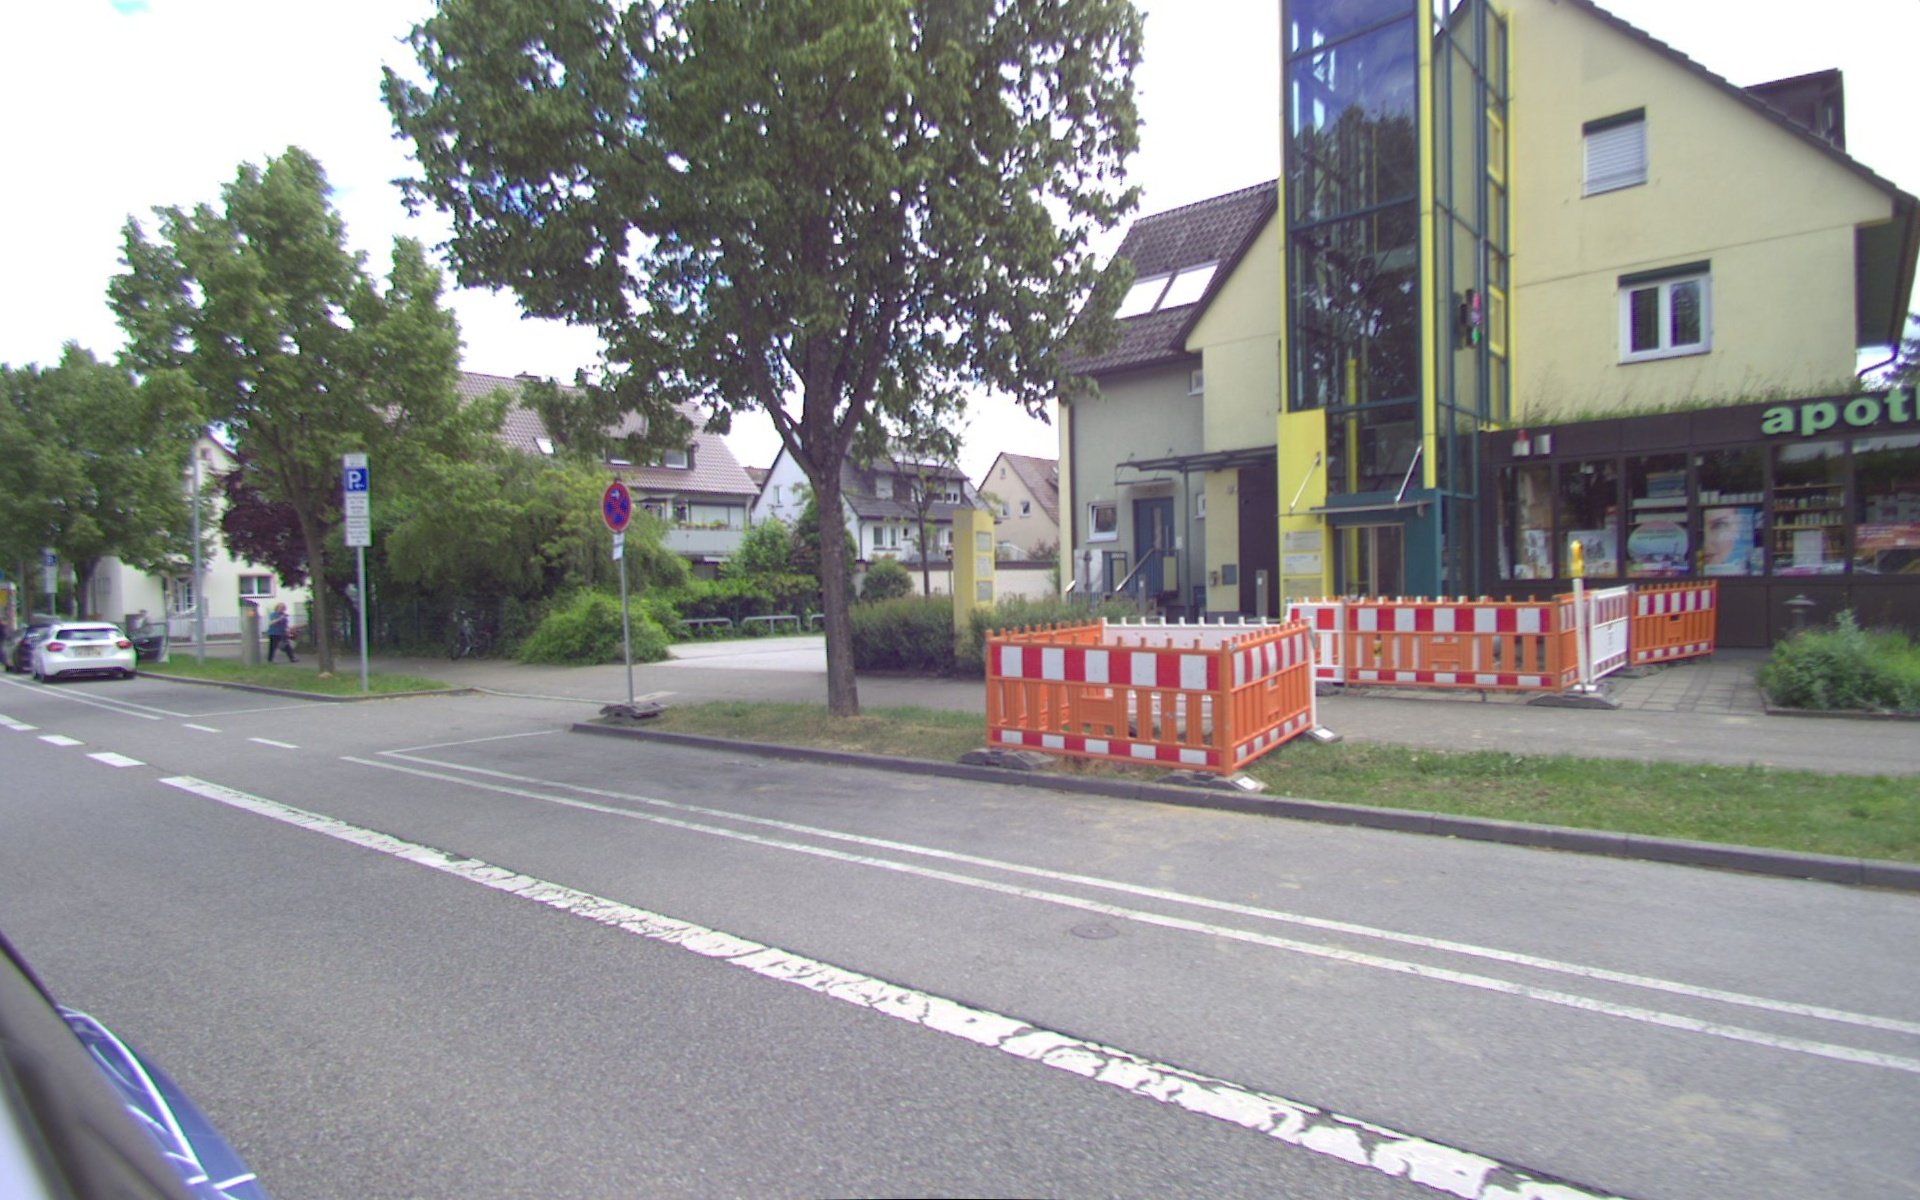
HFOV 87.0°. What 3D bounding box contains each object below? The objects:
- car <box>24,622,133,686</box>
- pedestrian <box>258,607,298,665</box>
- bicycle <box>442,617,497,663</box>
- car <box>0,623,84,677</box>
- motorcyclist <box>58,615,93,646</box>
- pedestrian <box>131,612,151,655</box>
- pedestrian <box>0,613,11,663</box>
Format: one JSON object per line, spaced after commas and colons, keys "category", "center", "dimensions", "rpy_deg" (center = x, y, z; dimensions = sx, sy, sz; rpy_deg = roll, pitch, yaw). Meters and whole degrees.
{"category": "car", "center": [-22.172, 1.288, 25.402], "dimensions": [4.301, 1.417, 1.695], "rpy_deg": [-1, 0, 44]}
{"category": "pedestrian", "center": [-18.527, 0.976, 27.494], "dimensions": [0.690, 1.540, 0.582], "rpy_deg": [-1, 0, 6]}
{"category": "bicycle", "center": [-11.777, 0.958, 24.286], "dimensions": [1.578, 1.056, 0.458], "rpy_deg": [-1, 0, 35]}
{"category": "car", "center": [-26.959, 1.408, 29.638], "dimensions": [4.021, 1.431, 1.624], "rpy_deg": [-1, -1, 44]}
{"category": "motorcyclist", "center": [-40.278, 1.372, 46.080], "dimensions": [0.753, 1.375, 1.095], "rpy_deg": [-1, 0, 40]}
{"category": "pedestrian", "center": [-30.028, 1.214, 37.111], "dimensions": [0.806, 1.563, 0.425], "rpy_deg": [-1, 0, 42]}
{"category": "pedestrian", "center": [-33.396, 1.338, 35.118], "dimensions": [0.535, 1.693, 0.751], "rpy_deg": [-3, 0, -39]}
